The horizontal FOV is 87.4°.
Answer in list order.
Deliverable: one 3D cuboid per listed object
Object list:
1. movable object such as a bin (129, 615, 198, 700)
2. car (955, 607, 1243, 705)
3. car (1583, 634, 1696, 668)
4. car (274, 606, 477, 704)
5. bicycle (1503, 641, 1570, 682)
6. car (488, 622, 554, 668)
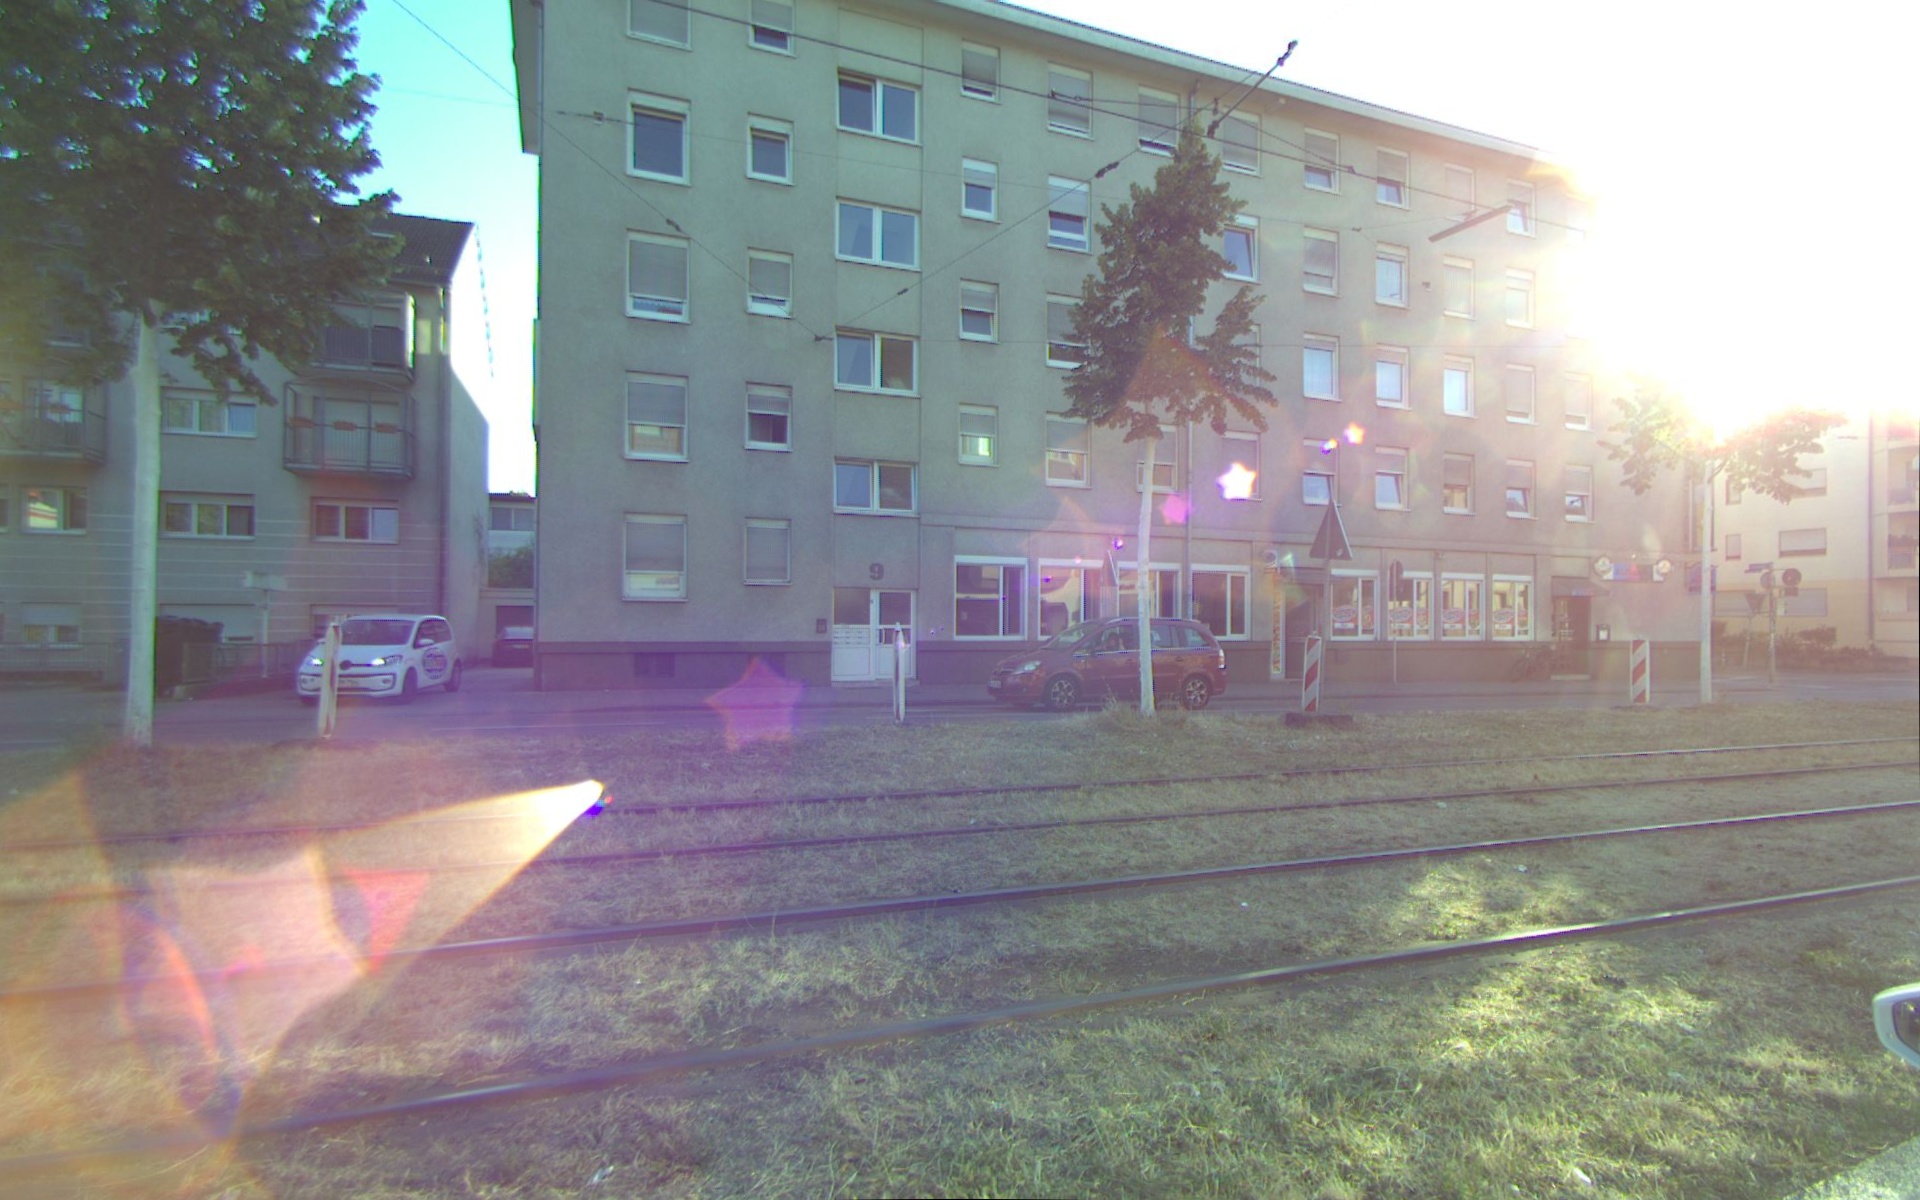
[{"bbox_3d":[-13.636,0.980,17.220,0.738,1.419,0.662,1,-2,-23],"label":"movable object such as a bin"},{"bbox_3d":[2.500,1.016,17.954,4.863,1.580,1.809,2,-3,-22],"label":"car"},{"bbox_3d":[31.118,2.309,46.084,1.770,1.458,3.939,2,-2,-31],"label":"car"},{"bbox_3d":[-10.155,0.951,17.804,1.785,1.532,3.824,1,-2,-9],"label":"car"},{"bbox_3d":[16.442,1.740,28.663,1.752,1.129,0.745,1,-1,-22],"label":"bicycle"},{"bbox_3d":[-15.788,1.591,36.268,1.789,1.437,3.924,2,0,-18],"label":"car"}]
